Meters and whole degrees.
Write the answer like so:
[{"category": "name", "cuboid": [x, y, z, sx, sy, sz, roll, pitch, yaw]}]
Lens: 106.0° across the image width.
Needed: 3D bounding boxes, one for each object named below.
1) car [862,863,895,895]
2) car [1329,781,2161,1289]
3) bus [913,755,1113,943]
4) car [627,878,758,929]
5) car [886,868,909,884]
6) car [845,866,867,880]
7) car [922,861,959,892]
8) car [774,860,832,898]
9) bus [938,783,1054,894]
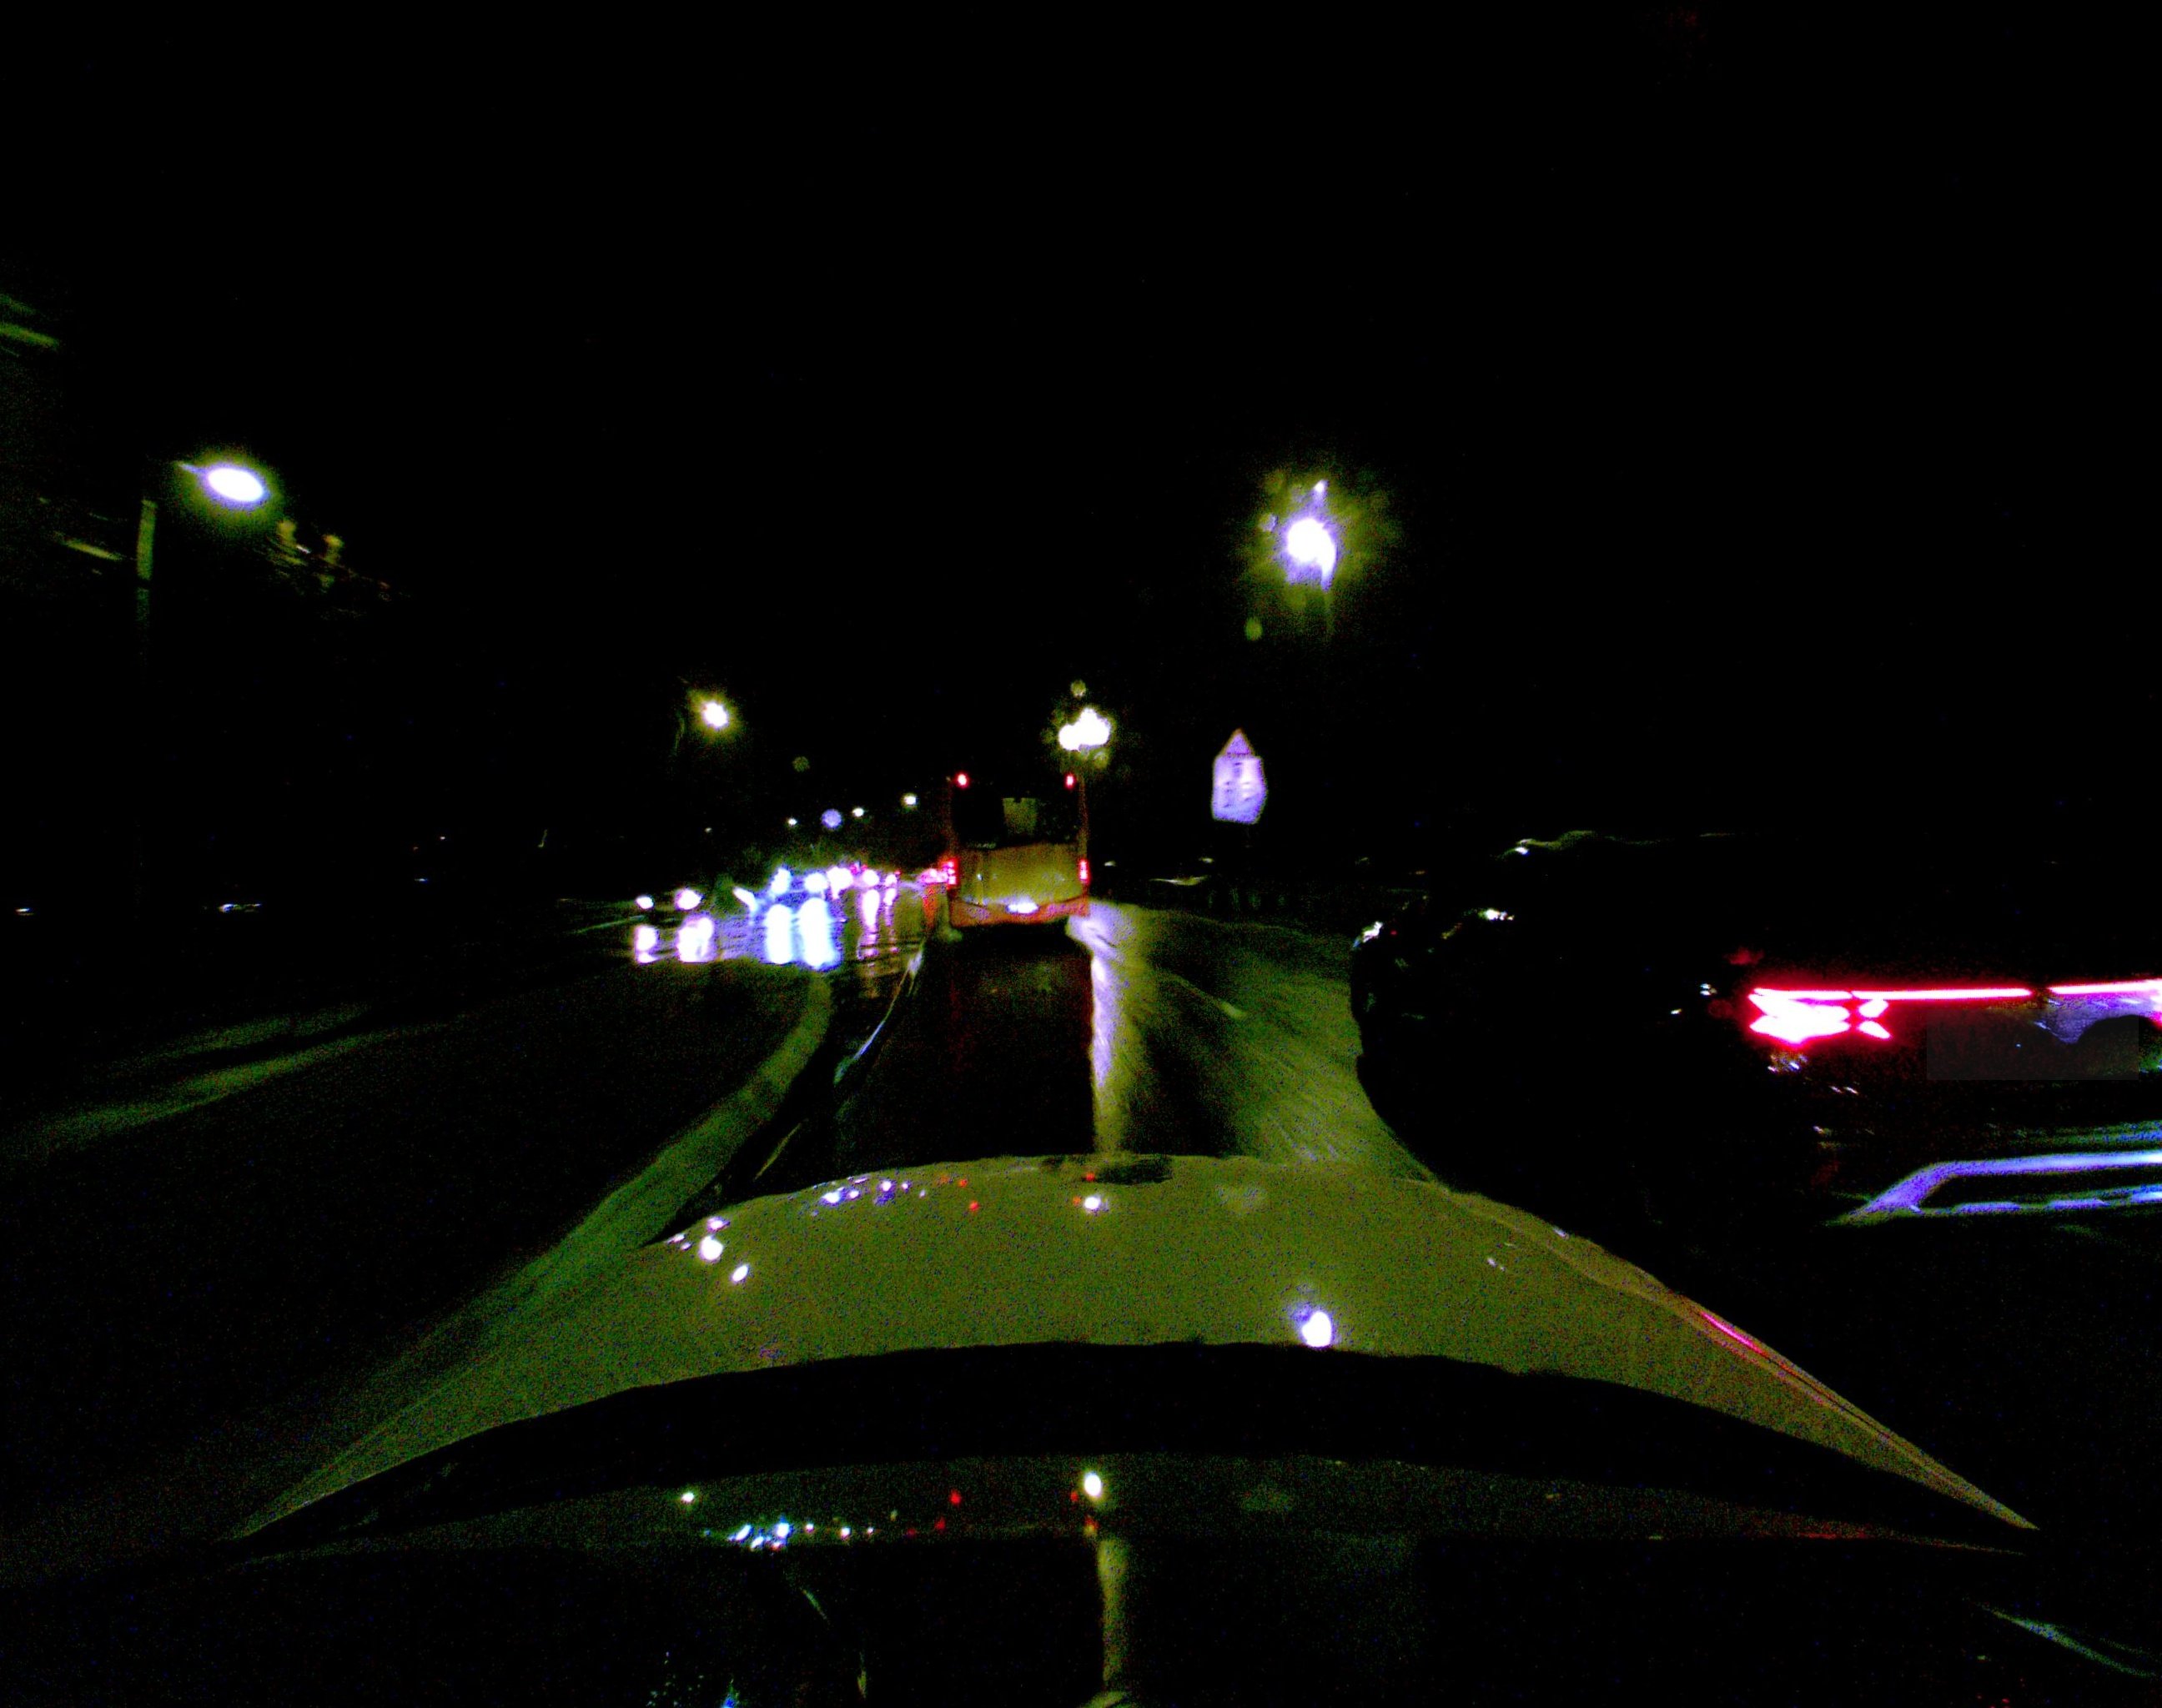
[{"category": "car", "cuboid": [-13.630, 1.656, 54.696, 1.997, 2.014, 4.325, -2, -1, -16]}, {"category": "car", "cuboid": [2.884, 0.602, 4.485, 1.673, 1.522, 3.955, 0, -2, -3]}, {"category": "bus", "cuboid": [-1.755, -0.275, 18.209, 3.283, 3.049, 9.518, -1, 2, -8]}, {"category": "car", "cuboid": [-11.877, 1.469, 25.310, 1.818, 1.448, 4.658, 0, -2, 0]}, {"category": "car", "cuboid": [-18.855, 2.301, 83.464, 1.822, 1.618, 3.972, 1, -2, -20]}, {"category": "car", "cuboid": [-26.495, 2.253, 95.841, 1.825, 1.618, 3.966, 1, -2, -25]}, {"category": "car", "cuboid": [-9.765, 1.558, 56.234, 1.998, 2.014, 4.323, 1, -2, -17]}, {"category": "car", "cuboid": [-13.075, 1.113, 38.550, 1.881, 1.607, 4.644, -1, 0, -10]}, {"category": "bus", "cuboid": [-3.106, -0.441, 27.307, 3.247, 3.120, 8.616, 0, 0, -10]}]
